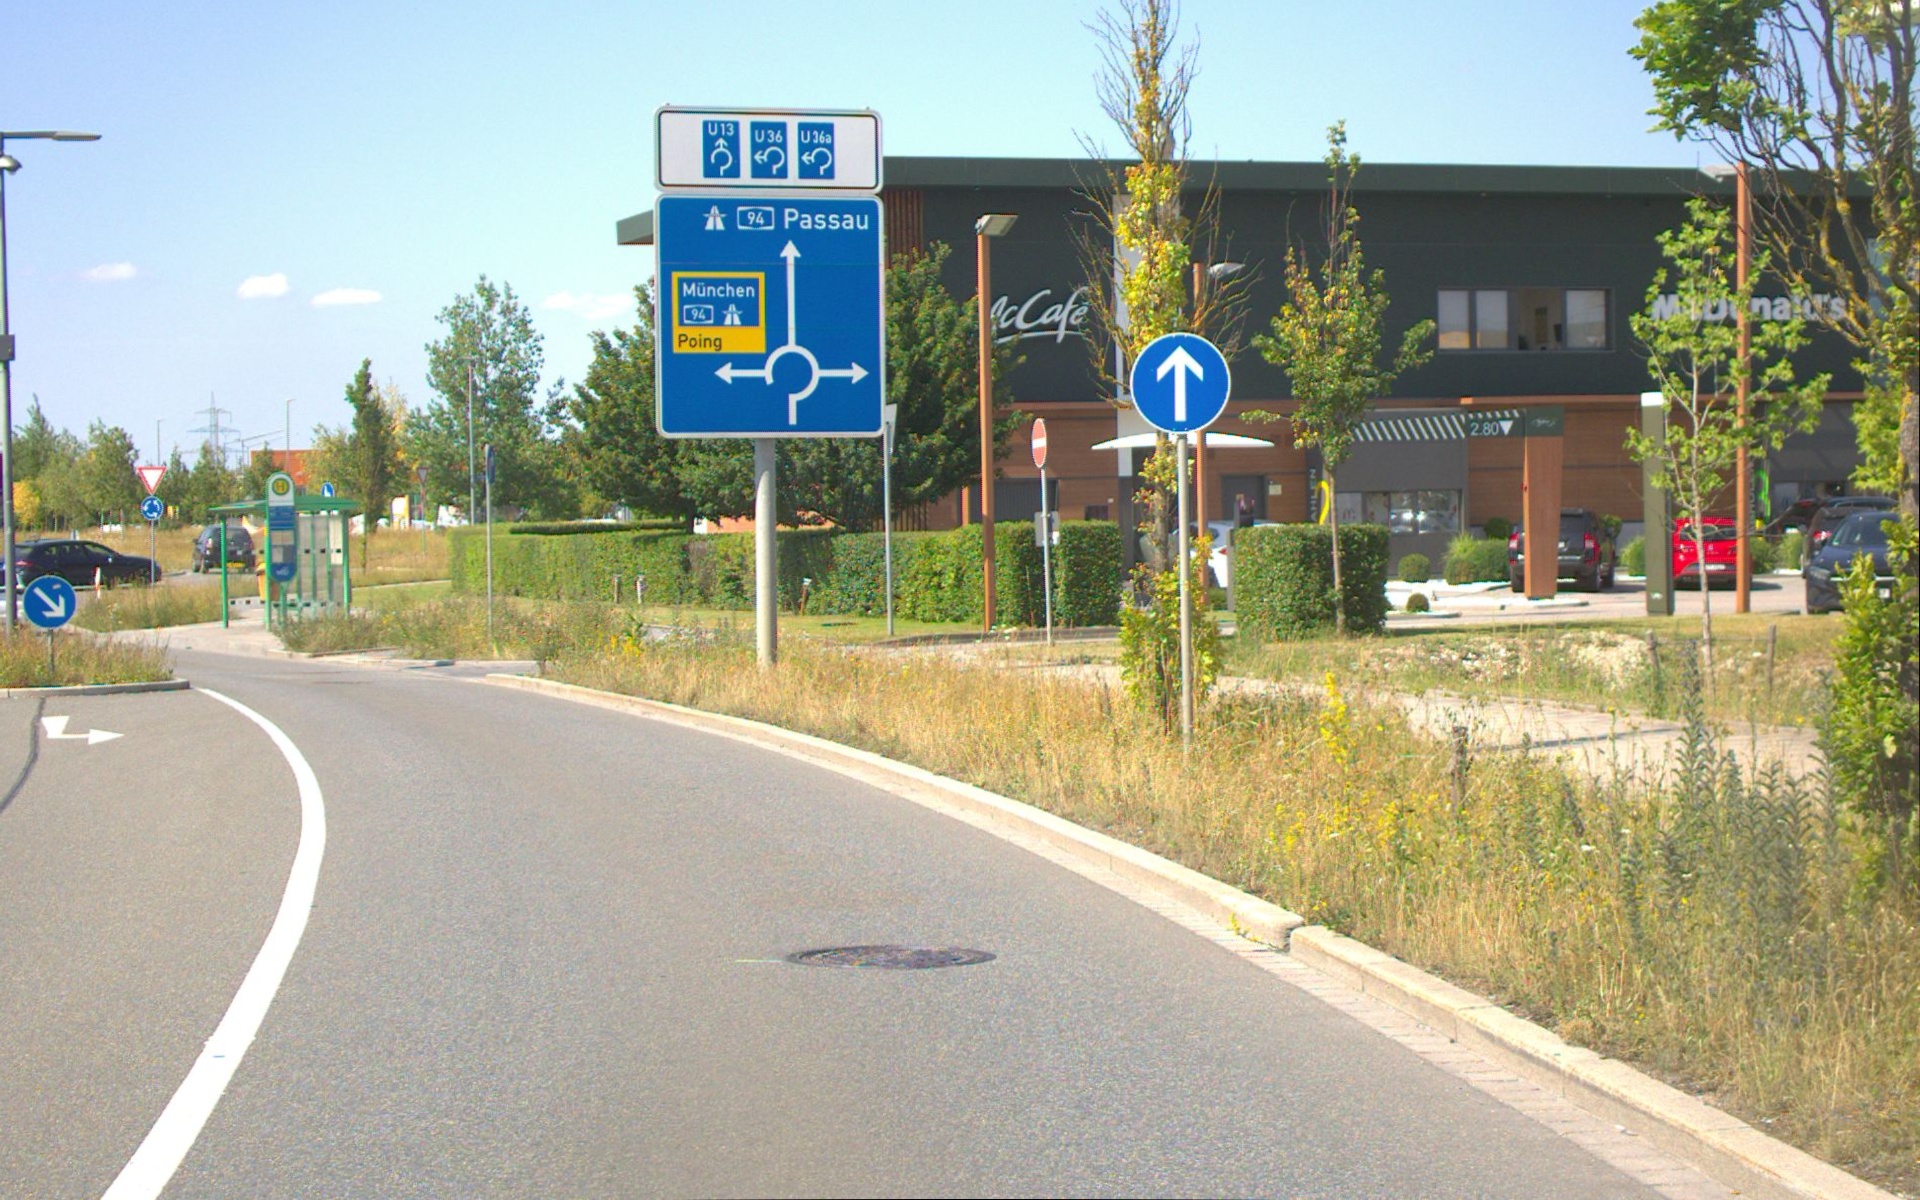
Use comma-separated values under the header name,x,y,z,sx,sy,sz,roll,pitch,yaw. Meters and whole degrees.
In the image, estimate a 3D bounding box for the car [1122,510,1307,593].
name,x,y,z,sx,sy,sz,roll,pitch,yaw
car,4.626,-0.885,63.113,1.792,1.429,4.001,-2,1,-21

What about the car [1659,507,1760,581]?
name,x,y,z,sx,sy,sz,roll,pitch,yaw
car,15.315,-1.165,70.386,1.793,1.429,3.999,-1,1,10

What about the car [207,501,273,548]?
name,x,y,z,sx,sy,sz,roll,pitch,yaw
car,-23.014,-2.404,109.971,1.616,1.429,3.793,-1,1,-5

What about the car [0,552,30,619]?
name,x,y,z,sx,sy,sz,roll,pitch,yaw
car,-21.719,-0.330,76.313,1.616,1.429,3.793,-1,1,-21

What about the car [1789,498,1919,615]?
name,x,y,z,sx,sy,sz,roll,pitch,yaw
car,12.181,-0.607,45.612,1.699,1.457,4.165,-1,1,22

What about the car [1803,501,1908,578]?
name,x,y,z,sx,sy,sz,roll,pitch,yaw
car,18.786,-1.282,71.996,1.794,1.508,3.996,-1,1,19

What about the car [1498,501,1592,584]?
name,x,y,z,sx,sy,sz,roll,pitch,yaw
car,11.838,-1.179,69.654,1.793,1.599,3.999,-1,1,10
